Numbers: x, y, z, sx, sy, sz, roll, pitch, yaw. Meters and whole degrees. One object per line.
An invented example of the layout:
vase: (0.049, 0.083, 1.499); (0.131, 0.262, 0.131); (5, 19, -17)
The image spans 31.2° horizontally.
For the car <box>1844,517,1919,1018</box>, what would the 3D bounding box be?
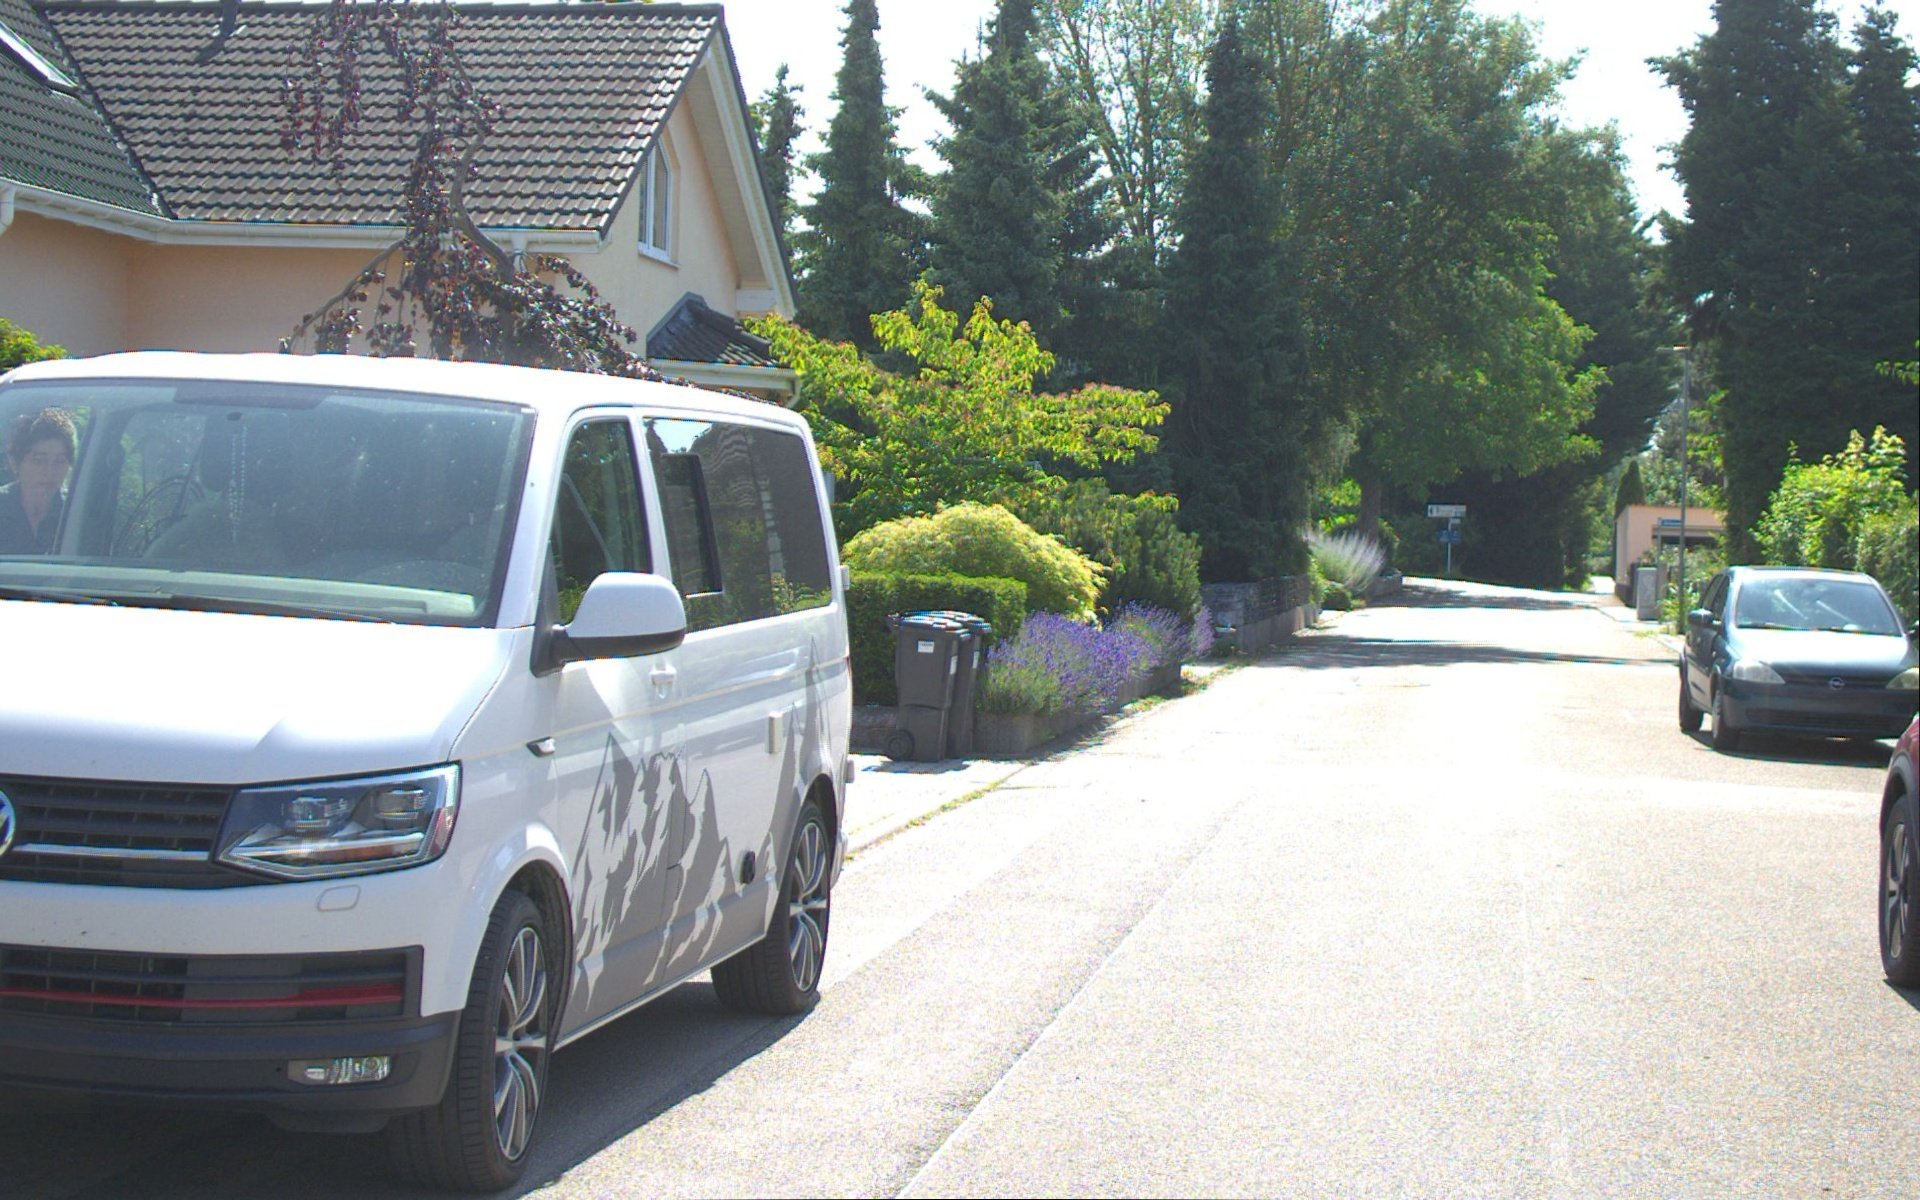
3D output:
car: (3.977, 0.588, 10.536); (1.823, 1.610, 3.999); (3, 1, 6)

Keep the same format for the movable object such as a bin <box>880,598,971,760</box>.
movable object such as a bin: (-0.224, 0.510, 22.444); (0.494, 1.021, 0.447); (2, 1, 9)

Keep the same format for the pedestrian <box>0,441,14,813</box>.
pedestrian: (-3.149, 0.304, 9.600); (0.719, 1.533, 0.640); (4, 2, 42)

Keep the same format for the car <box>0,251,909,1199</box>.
car: (-1.603, 0.270, 9.384); (1.930, 2.007, 4.894); (2, 1, 10)

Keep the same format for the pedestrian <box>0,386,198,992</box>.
pedestrian: (-2.774, 0.238, 10.227); (0.691, 1.725, 0.640); (4, 2, 40)

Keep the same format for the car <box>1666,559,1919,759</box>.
car: (6.697, 0.417, 27.518); (1.703, 1.395, 3.999); (3, 1, 8)

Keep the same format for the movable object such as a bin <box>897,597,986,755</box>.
movable object such as a bin: (-0.122, 0.501, 22.895); (0.494, 1.021, 0.447); (2, 1, 9)
